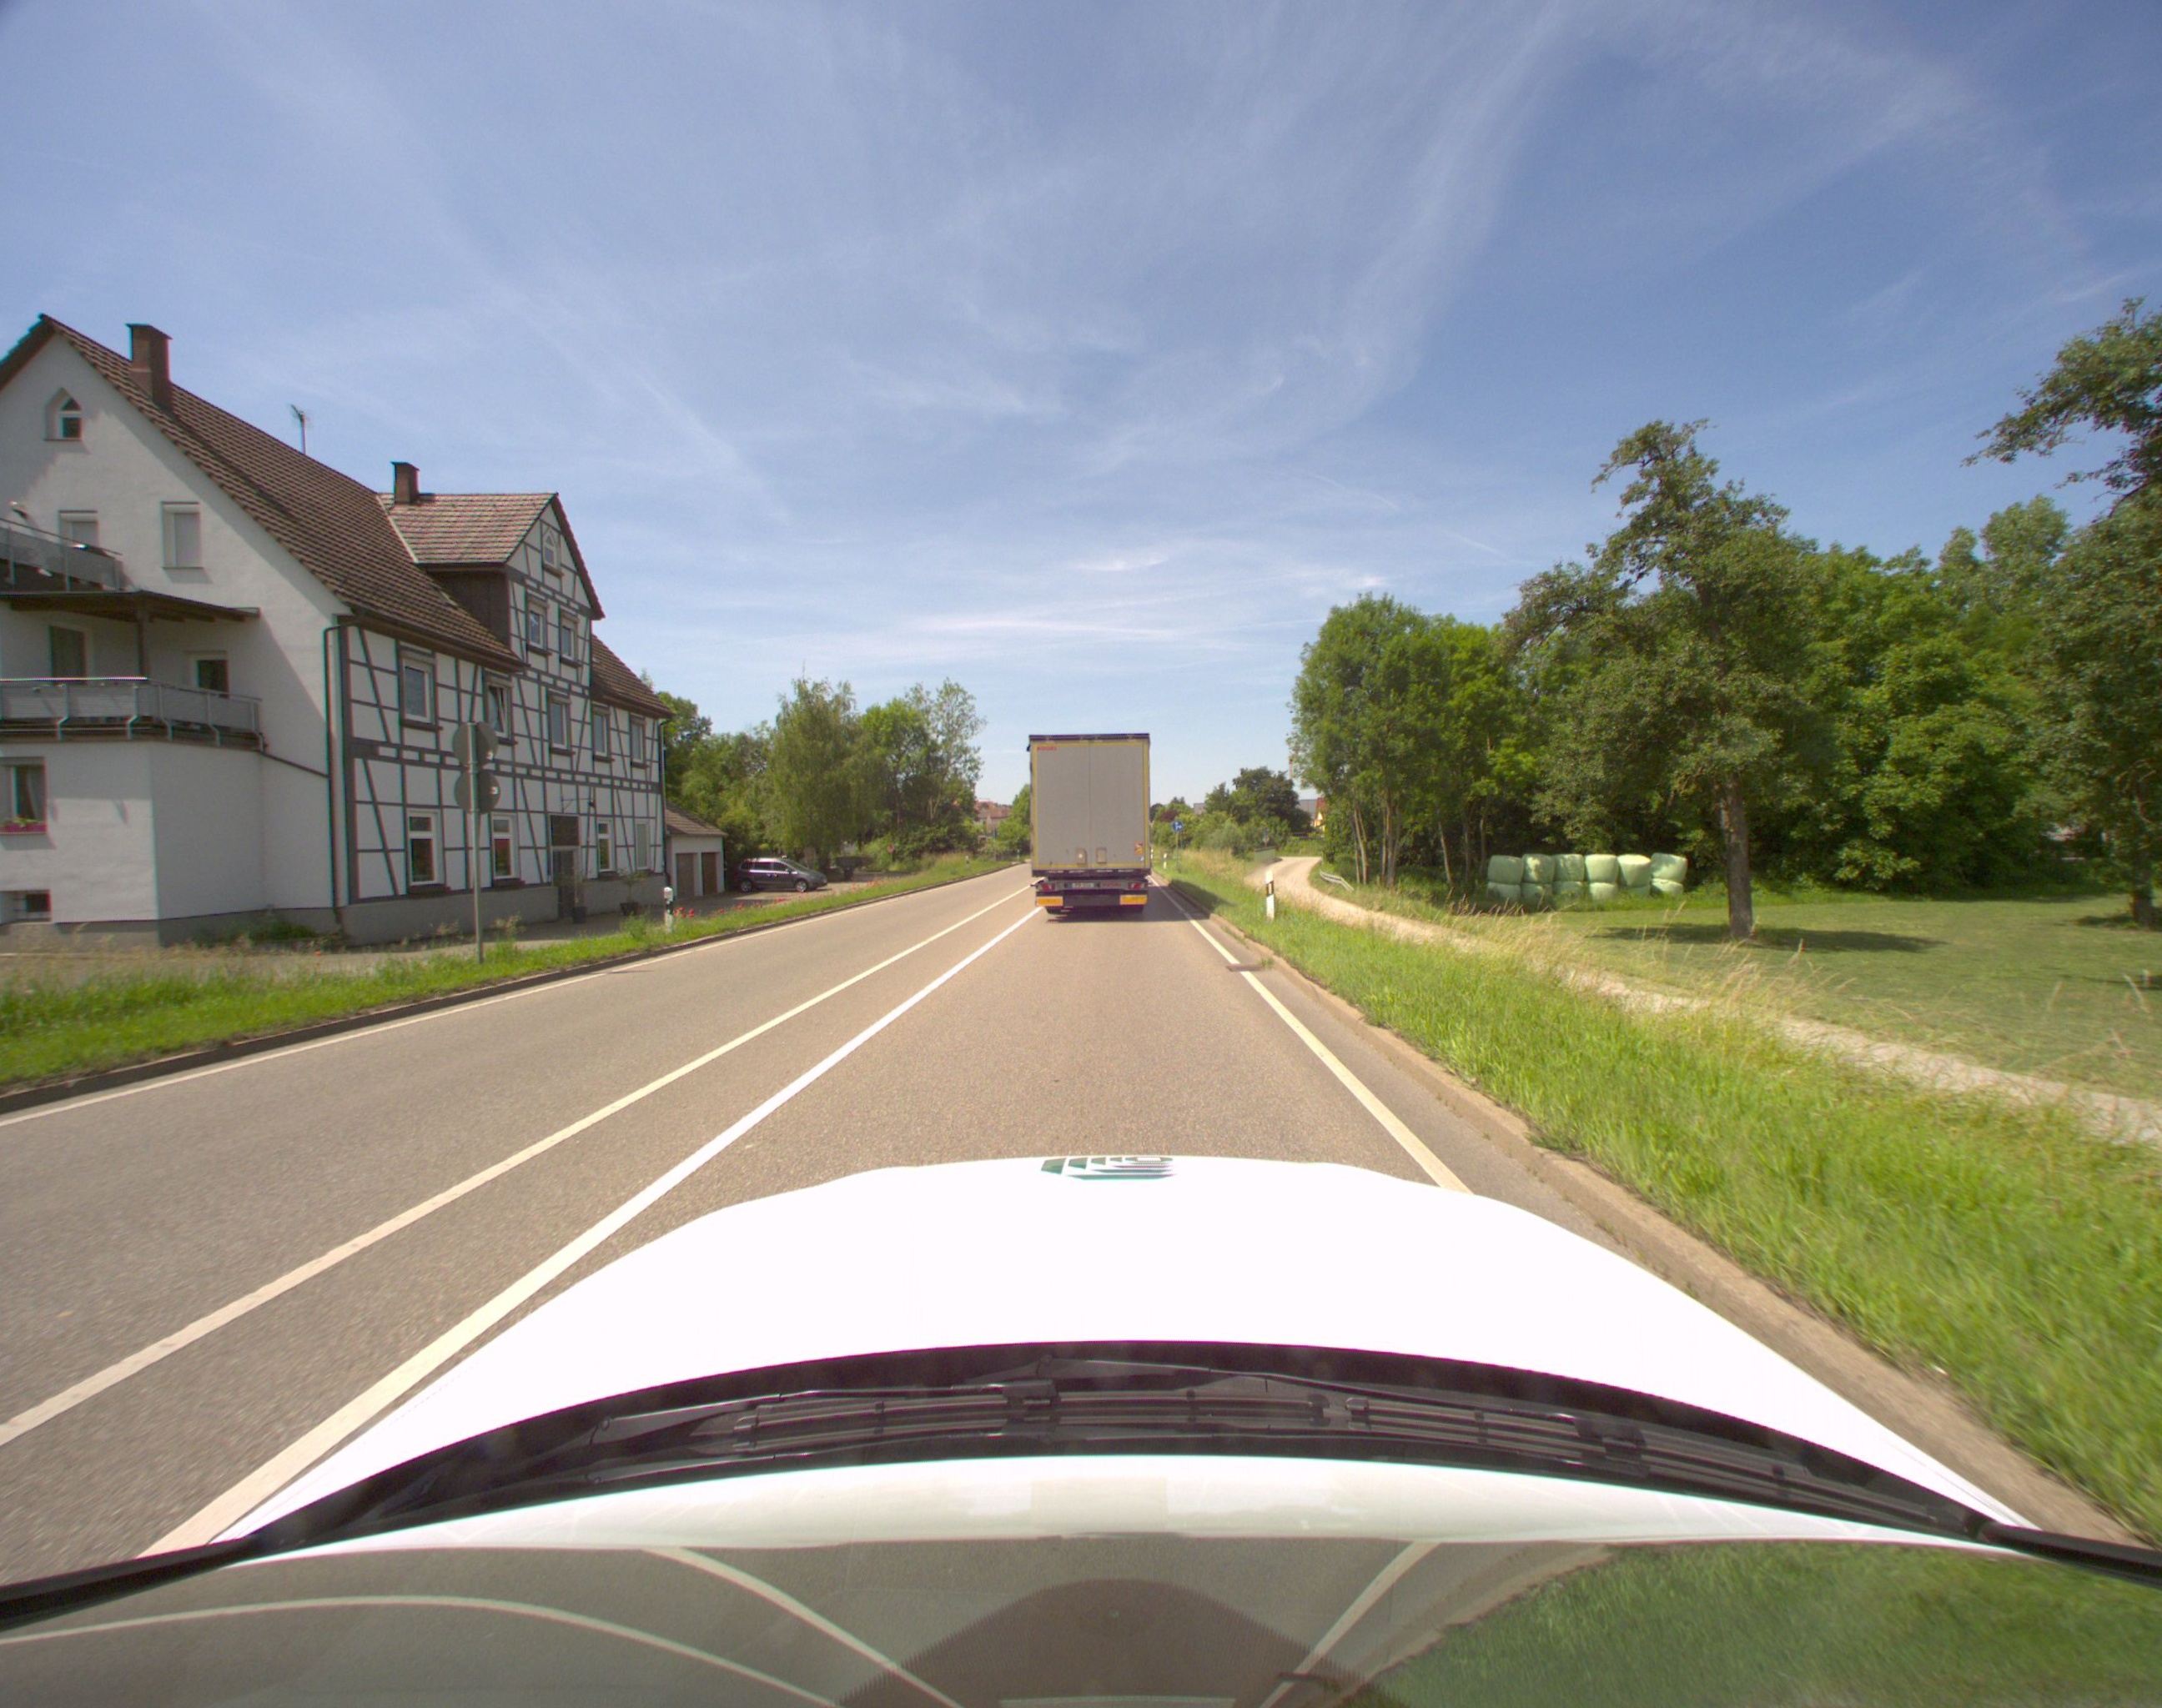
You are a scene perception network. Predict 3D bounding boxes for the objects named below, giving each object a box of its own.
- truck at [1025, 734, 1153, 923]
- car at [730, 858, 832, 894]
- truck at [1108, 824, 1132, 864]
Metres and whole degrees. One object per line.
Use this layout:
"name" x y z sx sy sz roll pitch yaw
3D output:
"truck" 0.296 -0.546 21.498 2.638 3.917 8.828 -1 0 2
"car" -15.758 1.132 42.923 4.651 1.720 1.861 0 2 -2
"truck" 4.753 -1.149 100.337 2.636 4.601 10.818 0 0 1
